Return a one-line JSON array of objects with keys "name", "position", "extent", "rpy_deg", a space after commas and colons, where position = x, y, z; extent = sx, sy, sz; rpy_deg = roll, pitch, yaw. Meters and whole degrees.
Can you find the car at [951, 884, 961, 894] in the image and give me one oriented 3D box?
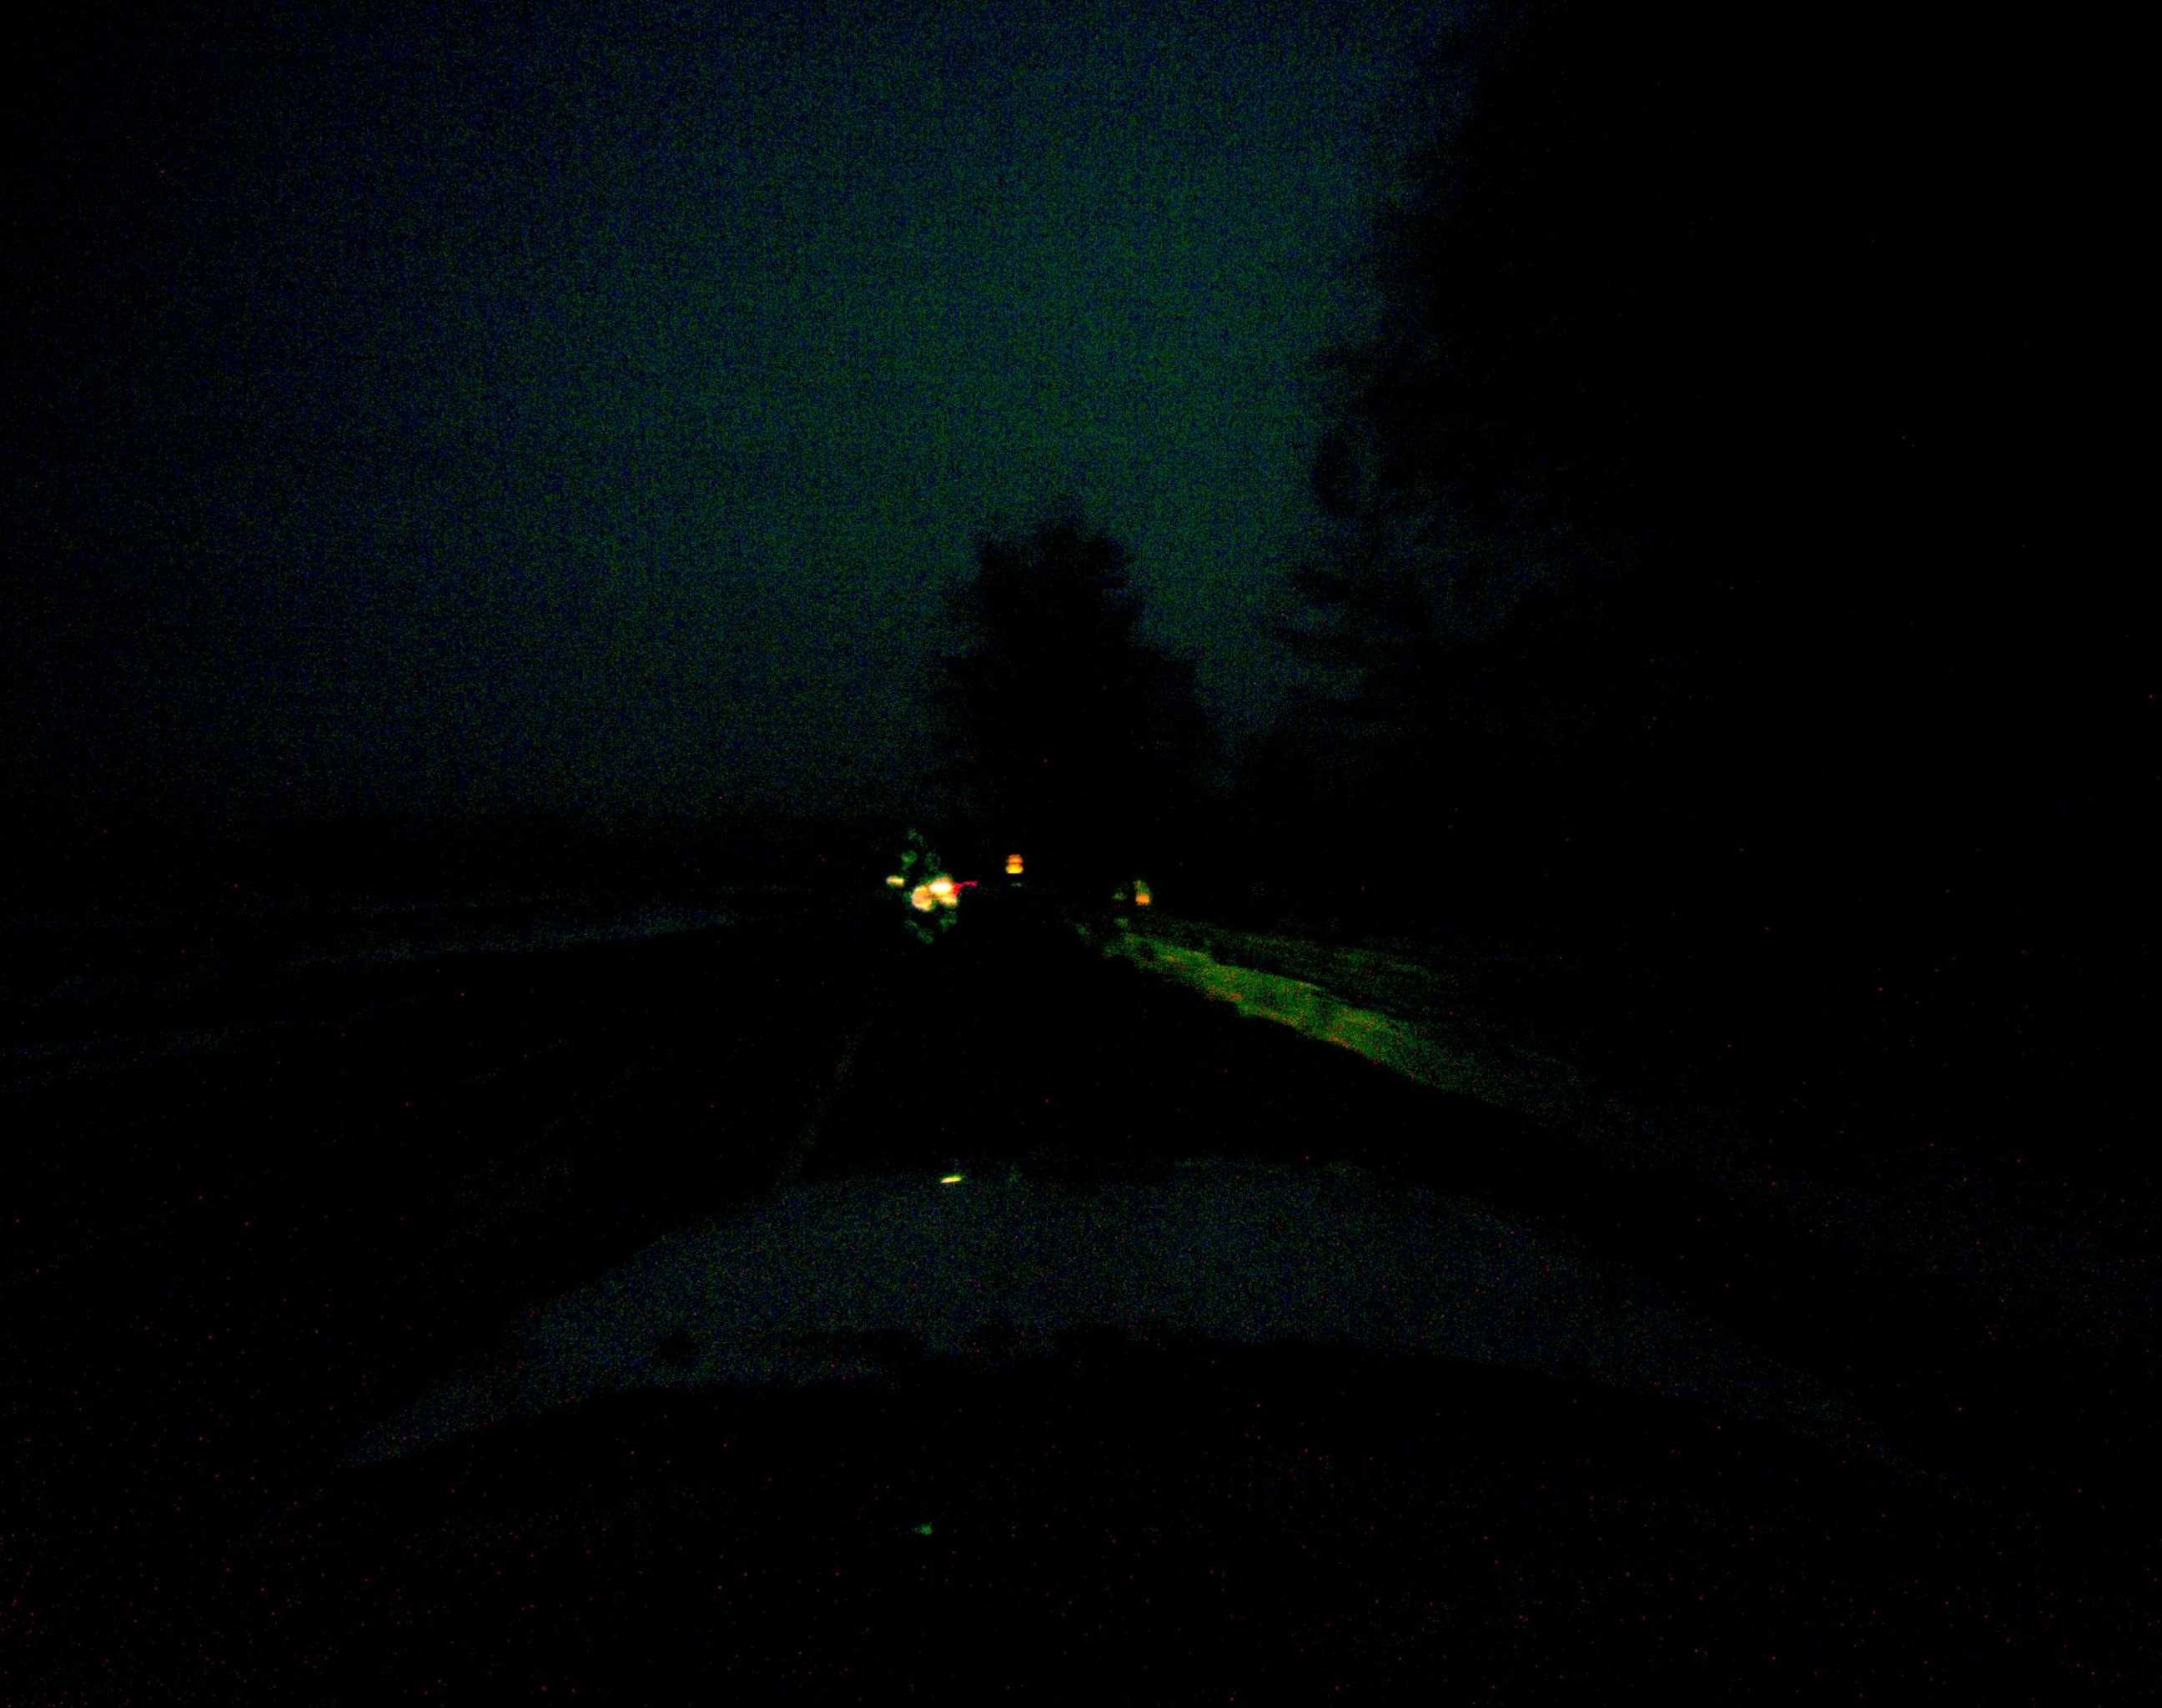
[{"name": "car", "position": [-21.981, 6.124, 143.383], "extent": [1.690, 1.552, 3.846], "rpy_deg": [-1, -1, -7]}]
